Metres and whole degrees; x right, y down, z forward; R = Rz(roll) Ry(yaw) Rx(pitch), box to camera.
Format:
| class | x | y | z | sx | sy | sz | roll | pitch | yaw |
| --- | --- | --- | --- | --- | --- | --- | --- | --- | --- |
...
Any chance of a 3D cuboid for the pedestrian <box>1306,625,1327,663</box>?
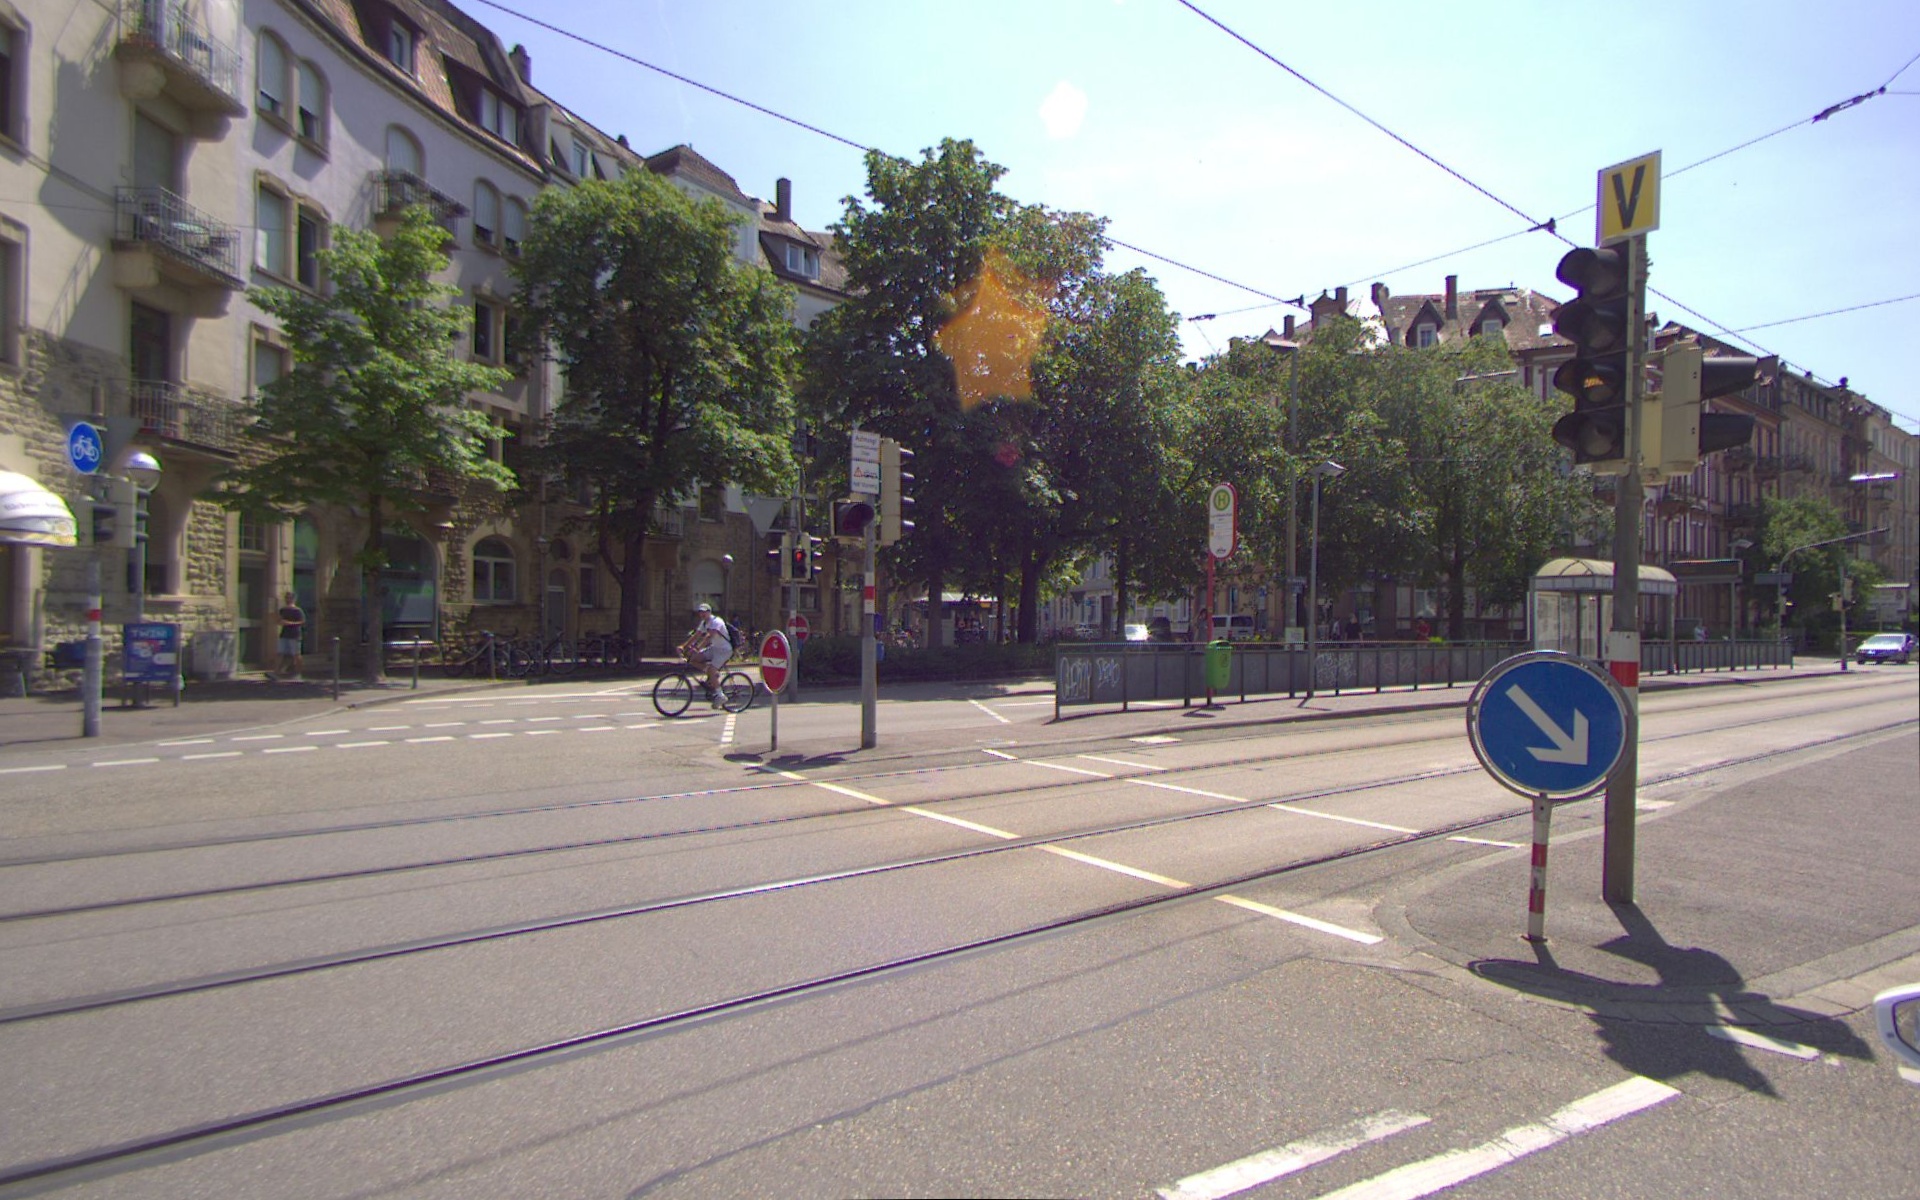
| class | x | y | z | sx | sy | sz | roll | pitch | yaw |
| --- | --- | --- | --- | --- | --- | --- | --- | --- | --- |
| pedestrian | 12.489 | 1.550 | 35.223 | 0.606 | 1.304 | 0.646 | 1 | -1 | 12 |

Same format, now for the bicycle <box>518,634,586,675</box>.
| class | x | y | z | sx | sy | sz | roll | pitch | yaw |
| --- | --- | --- | --- | --- | --- | --- | --- | --- | --- |
| bicycle | -10.448 | 1.384 | 25.741 | 1.639 | 0.987 | 0.290 | 2 | -1 | 5 |

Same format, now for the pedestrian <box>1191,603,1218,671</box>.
| class | x | y | z | sx | sy | sz | roll | pitch | yaw |
| --- | --- | --- | --- | --- | --- | --- | --- | --- | --- |
| pedestrian | 6.904 | 1.045 | 28.413 | 0.488 | 1.904 | 0.507 | 2 | -1 | -33 |

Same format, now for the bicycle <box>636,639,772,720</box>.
| class | x | y | z | sx | sy | sz | roll | pitch | yaw |
| --- | --- | --- | --- | --- | --- | --- | --- | --- | --- |
| bicycle | -3.968 | 1.203 | 15.682 | 1.960 | 1.173 | 0.623 | 2 | -1 | -38 |

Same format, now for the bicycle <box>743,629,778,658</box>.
| class | x | y | z | sx | sy | sz | roll | pitch | yaw |
| --- | --- | --- | --- | --- | --- | --- | --- | --- | --- |
| bicycle | -7.036 | 1.520 | 35.377 | 1.469 | 0.969 | 0.407 | 1 | -1 | 42 |

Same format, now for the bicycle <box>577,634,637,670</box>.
| class | x | y | z | sx | sy | sz | roll | pitch | yaw |
| --- | --- | --- | --- | --- | --- | --- | --- | --- | --- |
| bicycle | -10.121 | 1.490 | 28.811 | 1.639 | 0.987 | 0.290 | 2 | -1 | 5 |

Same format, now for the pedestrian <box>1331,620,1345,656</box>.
| class | x | y | z | sx | sy | sz | roll | pitch | yaw |
| --- | --- | --- | --- | --- | --- | --- | --- | --- | --- |
| pedestrian | 20.112 | 2.023 | 53.473 | 0.554 | 1.849 | 0.634 | 1 | -1 | 30 |

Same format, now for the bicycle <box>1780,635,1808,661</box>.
| class | x | y | z | sx | sy | sz | roll | pitch | yaw |
| --- | --- | --- | --- | --- | --- | --- | --- | --- | --- |
| bicycle | 45.658 | 2.613 | 55.026 | 0.605 | 1.414 | 2.306 | 1 | -1 | 25 |

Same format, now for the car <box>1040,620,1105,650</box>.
| class | x | y | z | sx | sy | sz | roll | pitch | yaw |
| --- | --- | --- | --- | --- | --- | --- | --- | --- | --- |
| car | 5.891 | 1.830 | 52.940 | 1.523 | 1.461 | 3.713 | 2 | -1 | -29 |

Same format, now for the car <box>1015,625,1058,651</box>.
| class | x | y | z | sx | sy | sz | roll | pitch | yaw |
| --- | --- | --- | --- | --- | --- | --- | --- | --- | --- |
| car | 4.549 | 2.264 | 60.451 | 1.515 | 1.461 | 3.732 | 2 | -1 | -13 |

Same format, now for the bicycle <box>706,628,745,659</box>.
| class | x | y | z | sx | sy | sz | roll | pitch | yaw |
| --- | --- | --- | --- | --- | --- | --- | --- | --- | --- |
| bicycle | -8.009 | 1.461 | 34.252 | 1.648 | 0.987 | 0.388 | 1 | -1 | 41 |

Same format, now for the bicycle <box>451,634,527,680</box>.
| class | x | y | z | sx | sy | sz | roll | pitch | yaw |
| --- | --- | --- | --- | --- | --- | --- | --- | --- | --- |
| bicycle | -10.930 | 1.320 | 23.310 | 1.639 | 0.987 | 0.290 | 2 | -1 | 5 |

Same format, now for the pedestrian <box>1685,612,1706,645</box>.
| class | x | y | z | sx | sy | sz | roll | pitch | yaw |
| --- | --- | --- | --- | --- | --- | --- | --- | --- | --- |
| pedestrian | 36.880 | 1.437 | 50.376 | 0.640 | 1.637 | 0.470 | 1 | 2 | 10 |

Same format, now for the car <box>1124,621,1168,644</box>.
| class | x | y | z | sx | sy | sz | roll | pitch | yaw |
| --- | --- | --- | --- | --- | --- | --- | --- | --- | --- |
| car | 12.481 | 2.157 | 67.486 | 1.515 | 1.461 | 3.732 | 2 | -1 | -13 |

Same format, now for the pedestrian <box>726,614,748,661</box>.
| class | x | y | z | sx | sy | sz | roll | pitch | yaw |
| --- | --- | --- | --- | --- | --- | --- | --- | --- | --- |
| pedestrian | -8.564 | 1.438 | 38.552 | 0.619 | 1.800 | 0.606 | 2 | -1 | -34 |

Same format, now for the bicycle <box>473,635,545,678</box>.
| class | x | y | z | sx | sy | sz | roll | pitch | yaw |
| --- | --- | --- | --- | --- | --- | --- | --- | --- | --- |
| bicycle | -10.989 | 1.362 | 24.502 | 1.639 | 0.987 | 0.290 | 2 | -1 | 5 |

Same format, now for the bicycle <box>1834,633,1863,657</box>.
| class | x | y | z | sx | sy | sz | roll | pitch | yaw |
| --- | --- | --- | --- | --- | --- | --- | --- | --- | --- |
| bicycle | 52.109 | 2.613 | 58.939 | 0.582 | 1.374 | 2.438 | 1 | -1 | 25 |

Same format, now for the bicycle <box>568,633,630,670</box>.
| class | x | y | z | sx | sy | sz | roll | pitch | yaw |
| --- | --- | --- | --- | --- | --- | --- | --- | --- | --- |
| bicycle | -10.204 | 1.464 | 28.417 | 1.639 | 0.987 | 0.290 | 2 | -1 | 5 |

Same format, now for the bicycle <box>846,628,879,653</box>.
| class | x | y | z | sx | sy | sz | roll | pitch | yaw |
| --- | --- | --- | --- | --- | --- | --- | --- | --- | --- |
| bicycle | -3.968 | 1.625 | 40.753 | 1.469 | 0.969 | 0.407 | 1 | -1 | 42 |

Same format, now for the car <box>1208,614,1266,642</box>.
| class | x | y | z | sx | sy | sz | roll | pitch | yaw |
| --- | --- | --- | --- | --- | --- | --- | --- | --- | --- |
| car | 15.357 | 1.516 | 55.866 | 1.515 | 1.461 | 3.732 | 2 | -1 | -13 |

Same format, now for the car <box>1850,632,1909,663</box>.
| class | x | y | z | sx | sy | sz | roll | pitch | yaw |
| --- | --- | --- | --- | --- | --- | --- | --- | --- | --- |
| car | 43.002 | 2.205 | 46.966 | 3.688 | 1.356 | 1.528 | 3 | -1 | -40 |

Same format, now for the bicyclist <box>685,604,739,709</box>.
| class | x | y | z | sx | sy | sz | roll | pitch | yaw |
| --- | --- | --- | --- | --- | --- | --- | --- | --- | --- |
| bicyclist | -3.884 | 0.870 | 15.731 | 0.580 | 1.595 | 0.603 | 2 | -1 | -38 |

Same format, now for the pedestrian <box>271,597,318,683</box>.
| class | x | y | z | sx | sy | sz | roll | pitch | yaw |
| --- | --- | --- | --- | --- | --- | --- | --- | --- | --- |
| pedestrian | -13.900 | 0.829 | 20.987 | 0.722 | 1.754 | 0.539 | 2 | -1 | -40 |

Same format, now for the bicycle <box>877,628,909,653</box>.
| class | x | y | z | sx | sy | sz | roll | pitch | yaw |
| --- | --- | --- | --- | --- | --- | --- | --- | --- | --- |
| bicycle | -2.808 | 1.685 | 42.062 | 1.469 | 0.969 | 0.407 | 1 | -1 | 42 |

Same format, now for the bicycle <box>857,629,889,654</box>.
| class | x | y | z | sx | sy | sz | roll | pitch | yaw |
| --- | --- | --- | --- | --- | --- | --- | --- | --- | --- |
| bicycle | -3.559 | 1.702 | 41.207 | 1.469 | 0.969 | 0.407 | 1 | -1 | 42 |

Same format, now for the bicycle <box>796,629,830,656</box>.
| class | x | y | z | sx | sy | sz | roll | pitch | yaw |
| --- | --- | --- | --- | --- | --- | --- | --- | --- | --- |
| bicycle | -5.611 | 1.615 | 38.311 | 1.469 | 0.969 | 0.407 | 1 | -1 | 42 |

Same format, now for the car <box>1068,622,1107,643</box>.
| class | x | y | z | sx | sy | sz | roll | pitch | yaw |
| --- | --- | --- | --- | --- | --- | --- | --- | --- | --- |
| car | 9.943 | 2.522 | 78.396 | 1.729 | 1.639 | 3.990 | 1 | -1 | -13 |

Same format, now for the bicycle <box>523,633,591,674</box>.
| class | x | y | z | sx | sy | sz | roll | pitch | yaw |
| --- | --- | --- | --- | --- | --- | --- | --- | --- | --- |
| bicycle | -10.471 | 1.390 | 26.093 | 1.639 | 0.987 | 0.290 | 2 | -1 | 5 |

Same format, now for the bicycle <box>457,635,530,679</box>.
| class | x | y | z | sx | sy | sz | roll | pitch | yaw |
| --- | --- | --- | --- | --- | --- | --- | --- | --- | --- |
| bicycle | -11.195 | 1.356 | 24.124 | 1.639 | 0.987 | 0.290 | 2 | -1 | 5 |

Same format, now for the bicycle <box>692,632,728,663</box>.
| class | x | y | z | sx | sy | sz | roll | pitch | yaw |
| --- | --- | --- | --- | --- | --- | --- | --- | --- | --- |
| bicycle | -8.338 | 1.587 | 33.510 | 1.469 | 0.969 | 0.407 | 1 | -1 | 42 |

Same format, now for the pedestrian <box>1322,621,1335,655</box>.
| class | x | y | z | sx | sy | sz | roll | pitch | yaw |
| --- | --- | --- | --- | --- | --- | --- | --- | --- | --- |
| pedestrian | 19.870 | 2.054 | 54.147 | 0.499 | 1.791 | 0.528 | 1 | -1 | 30 |

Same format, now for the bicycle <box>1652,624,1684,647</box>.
| class | x | y | z | sx | sy | sz | roll | pitch | yaw |
| --- | --- | --- | --- | --- | --- | --- | --- | --- | --- |
| bicycle | 37.142 | 1.868 | 52.689 | 1.490 | 1.185 | 0.364 | 1 | 1 | -5 |

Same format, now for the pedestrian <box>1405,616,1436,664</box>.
| class | x | y | z | sx | sy | sz | roll | pitch | yaw |
| --- | --- | --- | --- | --- | --- | --- | --- | --- | --- |
| pedestrian | 15.707 | 1.360 | 34.241 | 0.767 | 1.627 | 0.673 | 2 | -1 | -41 |

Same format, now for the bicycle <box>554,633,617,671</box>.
| class | x | y | z | sx | sy | sz | roll | pitch | yaw |
| --- | --- | --- | --- | --- | --- | --- | --- | --- | --- |
| bicycle | -10.300 | 1.426 | 27.633 | 1.639 | 0.987 | 0.290 | 2 | -1 | 5 |

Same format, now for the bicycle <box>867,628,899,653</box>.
| class | x | y | z | sx | sy | sz | roll | pitch | yaw |
| --- | --- | --- | --- | --- | --- | --- | --- | --- | --- |
| bicycle | -3.196 | 1.671 | 41.606 | 1.469 | 0.969 | 0.407 | 1 | -1 | 42 |

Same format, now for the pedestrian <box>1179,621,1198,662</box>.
| class | x | y | z | sx | sy | sz | roll | pitch | yaw |
| --- | --- | --- | --- | --- | --- | --- | --- | --- | --- |
| pedestrian | 7.232 | 1.311 | 31.764 | 0.539 | 1.272 | 0.646 | 1 | -1 | 12 |
